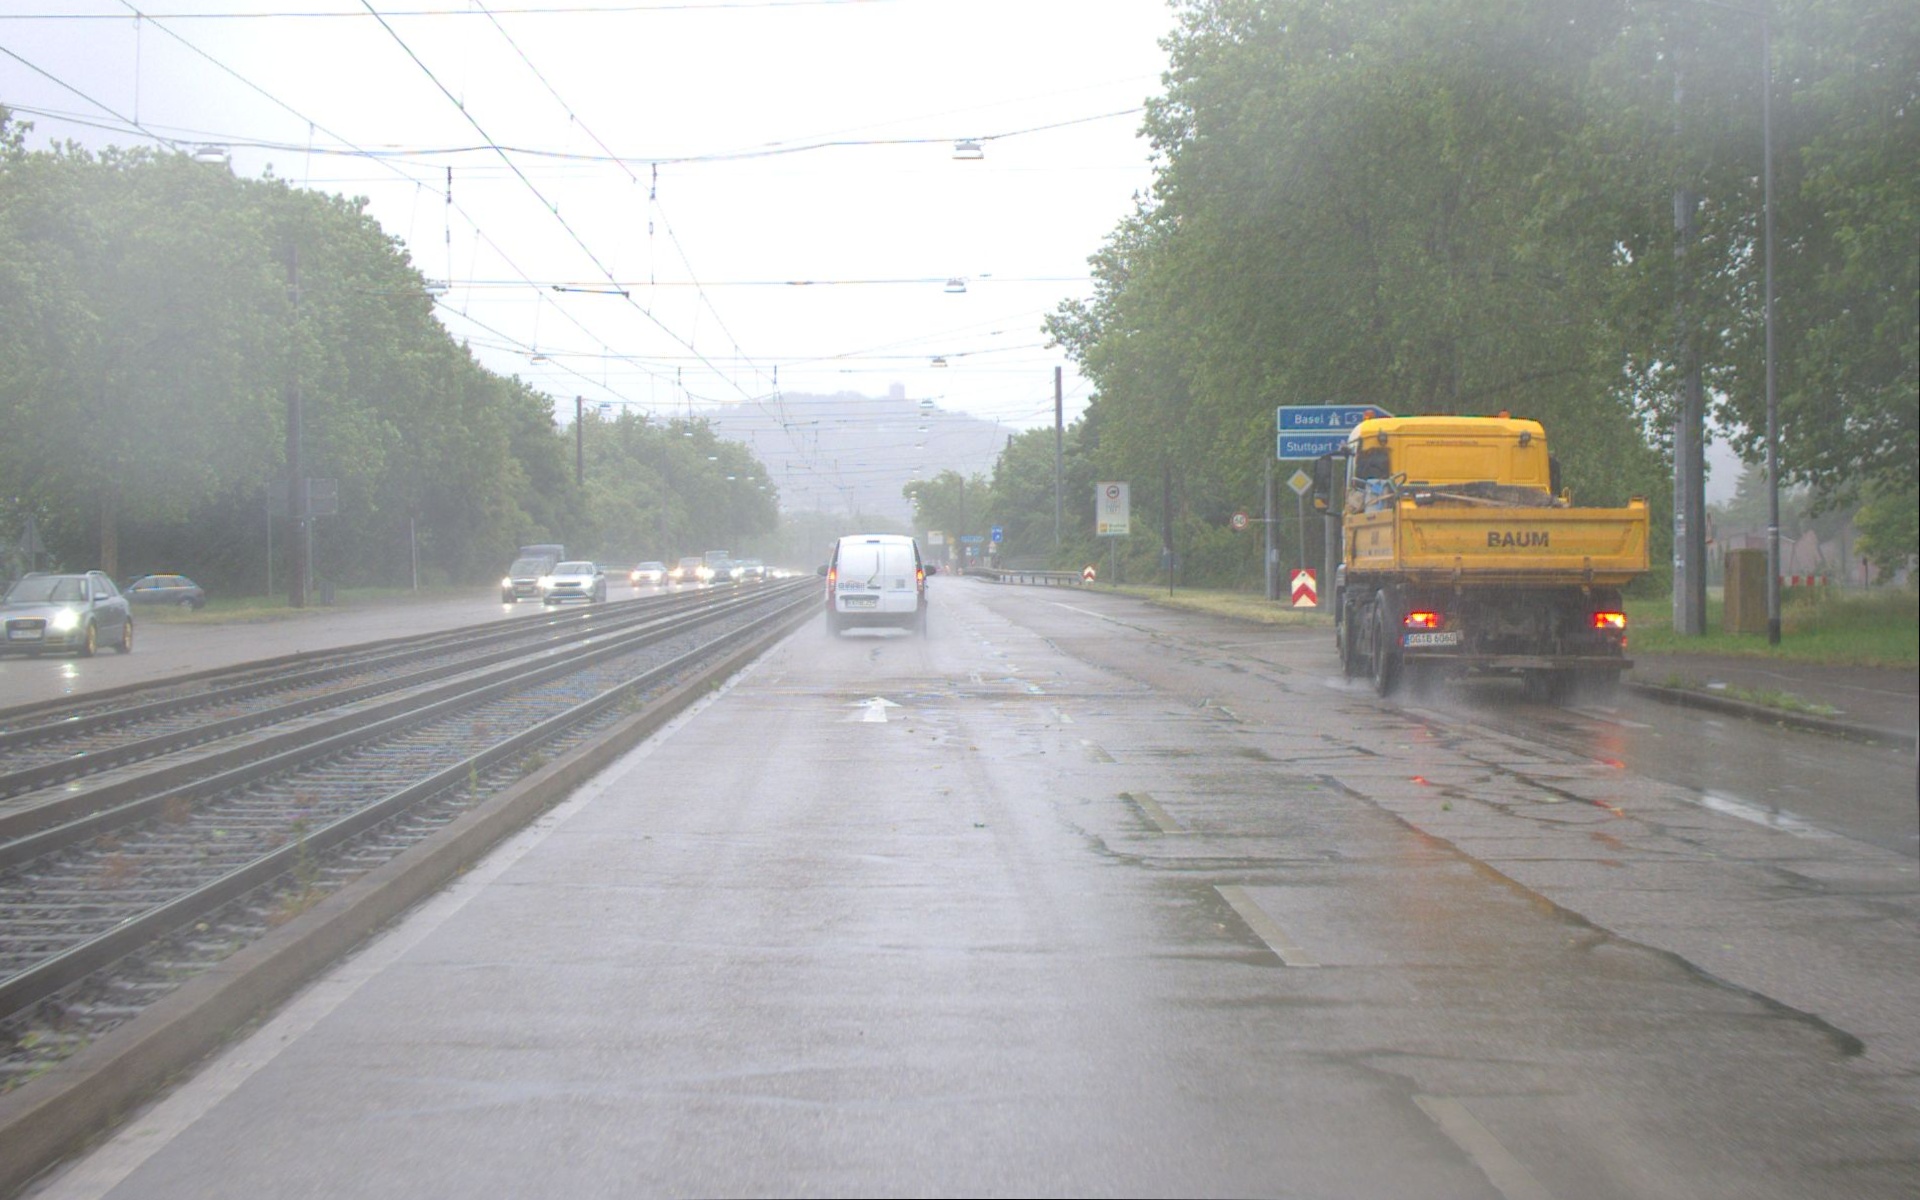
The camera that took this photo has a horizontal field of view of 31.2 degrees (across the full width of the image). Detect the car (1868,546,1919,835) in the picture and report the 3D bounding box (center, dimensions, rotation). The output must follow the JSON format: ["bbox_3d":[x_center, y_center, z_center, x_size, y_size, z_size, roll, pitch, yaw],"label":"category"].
[{"bbox_3d":[5.886,0.536,16.626,1.626,1.498,4.607,1,2,-2],"label":"car"}]

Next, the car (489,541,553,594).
[{"bbox_3d":[-15.943,-1.198,124.940,1.887,1.803,5.005,1,2,-3],"label":"car"}]

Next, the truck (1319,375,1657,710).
[{"bbox_3d":[5.546,-0.665,37.236,2.555,3.246,6.933,1,2,0],"label":"truck"}]

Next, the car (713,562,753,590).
[{"bbox_3d":[-13.721,-1.480,208.313,1.790,1.544,5.313,1,2,3],"label":"car"}]

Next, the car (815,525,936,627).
[{"bbox_3d":[-1.450,-0.448,60.599,1.989,1.678,3.740,1,2,0],"label":"car"}]

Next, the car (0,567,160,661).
[{"bbox_3d":[-14.783,0.200,57.339,1.757,1.358,5.072,1,2,-1],"label":"car"}]

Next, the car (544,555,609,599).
[{"bbox_3d":[-13.080,-0.795,117.421,1.741,1.349,4.546,1,2,-1],"label":"car"}]
